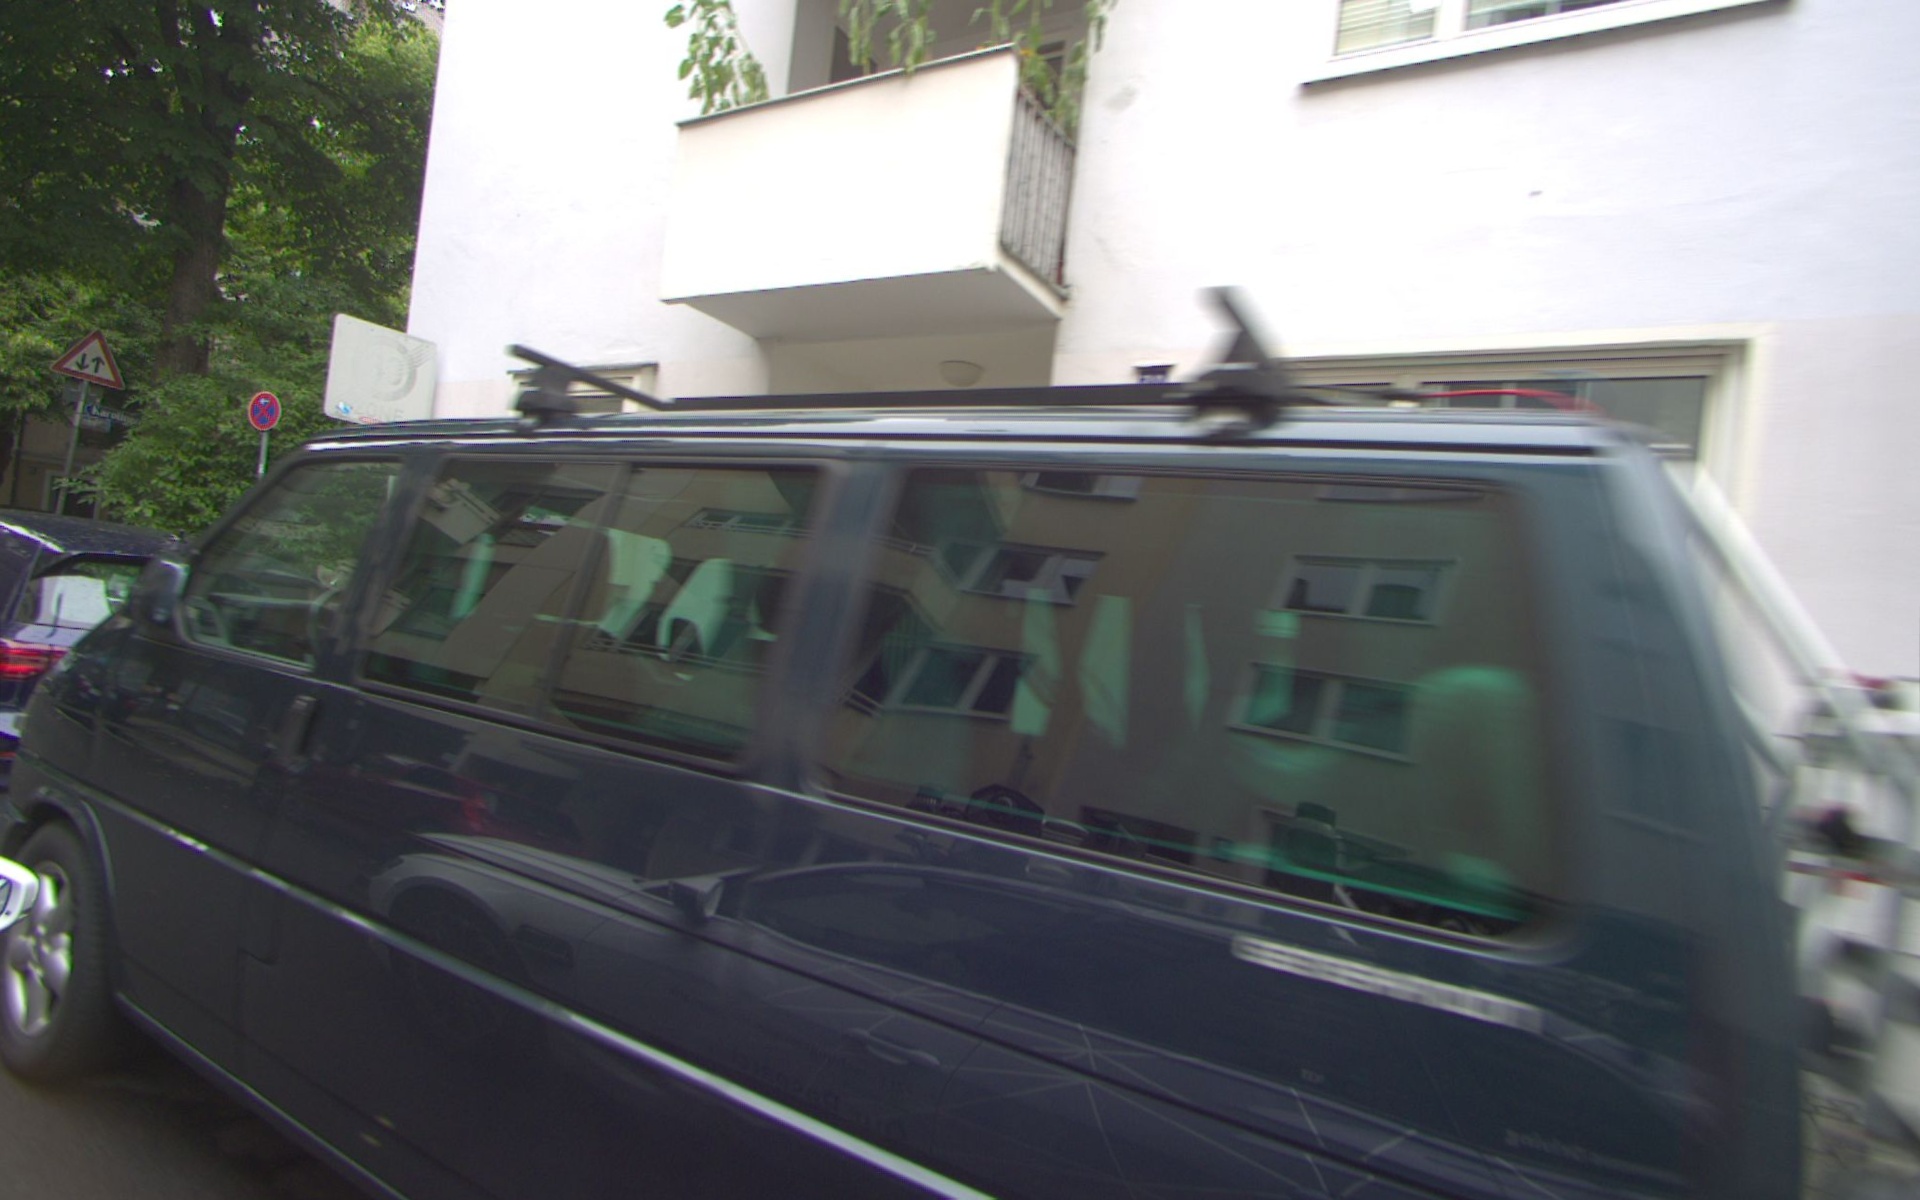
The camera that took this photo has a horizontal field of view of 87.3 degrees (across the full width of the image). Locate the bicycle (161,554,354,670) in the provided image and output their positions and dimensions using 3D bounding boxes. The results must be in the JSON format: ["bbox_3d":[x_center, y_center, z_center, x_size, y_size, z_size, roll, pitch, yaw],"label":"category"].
[{"bbox_3d":[-7.840,0.143,11.294,1.610,1.068,0.450,8,-1,-16],"label":"bicycle"}]

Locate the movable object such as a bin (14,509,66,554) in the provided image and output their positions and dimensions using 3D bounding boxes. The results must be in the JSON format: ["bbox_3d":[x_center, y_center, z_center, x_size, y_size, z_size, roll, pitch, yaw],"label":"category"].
[{"bbox_3d":[-30.620,-2.262,33.505,0.857,1.319,1.420,10,-2,-32],"label":"movable object such as a bin"}]

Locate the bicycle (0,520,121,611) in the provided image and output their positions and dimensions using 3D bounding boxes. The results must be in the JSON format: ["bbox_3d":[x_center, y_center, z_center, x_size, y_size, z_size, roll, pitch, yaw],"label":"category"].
[{"bbox_3d":[-12.746,-0.464,14.016,0.544,1.151,1.773,7,-1,-2],"label":"bicycle"}]

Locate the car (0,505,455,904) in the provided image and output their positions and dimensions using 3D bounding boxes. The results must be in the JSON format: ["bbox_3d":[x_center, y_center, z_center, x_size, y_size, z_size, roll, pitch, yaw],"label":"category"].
[{"bbox_3d":[-4.758,0.263,5.277,3.991,1.436,1.836,6,-1,31],"label":"car"}]

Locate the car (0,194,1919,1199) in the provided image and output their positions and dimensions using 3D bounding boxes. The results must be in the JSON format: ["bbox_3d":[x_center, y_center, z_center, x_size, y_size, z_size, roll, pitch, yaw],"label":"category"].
[{"bbox_3d":[-0.584,0.522,2.566,4.703,1.812,1.877,6,-1,32],"label":"car"}]

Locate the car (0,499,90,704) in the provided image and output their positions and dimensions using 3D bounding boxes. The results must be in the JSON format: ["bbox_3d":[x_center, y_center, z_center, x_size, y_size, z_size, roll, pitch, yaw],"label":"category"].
[{"bbox_3d":[-8.703,-0.190,7.894,3.935,1.458,1.745,6,-1,33],"label":"car"}]

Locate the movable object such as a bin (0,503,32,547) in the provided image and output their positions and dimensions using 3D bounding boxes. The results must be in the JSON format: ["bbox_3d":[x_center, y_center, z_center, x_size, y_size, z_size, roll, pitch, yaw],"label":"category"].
[{"bbox_3d":[-31.526,-2.485,33.360,0.707,1.364,1.363,7,-1,-30],"label":"movable object such as a bin"}]

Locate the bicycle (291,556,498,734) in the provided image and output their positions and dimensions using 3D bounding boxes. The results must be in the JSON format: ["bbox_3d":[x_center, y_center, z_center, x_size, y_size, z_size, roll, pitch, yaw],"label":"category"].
[{"bbox_3d":[-4.749,0.348,8.405,1.886,1.234,0.560,7,-1,33],"label":"bicycle"}]
